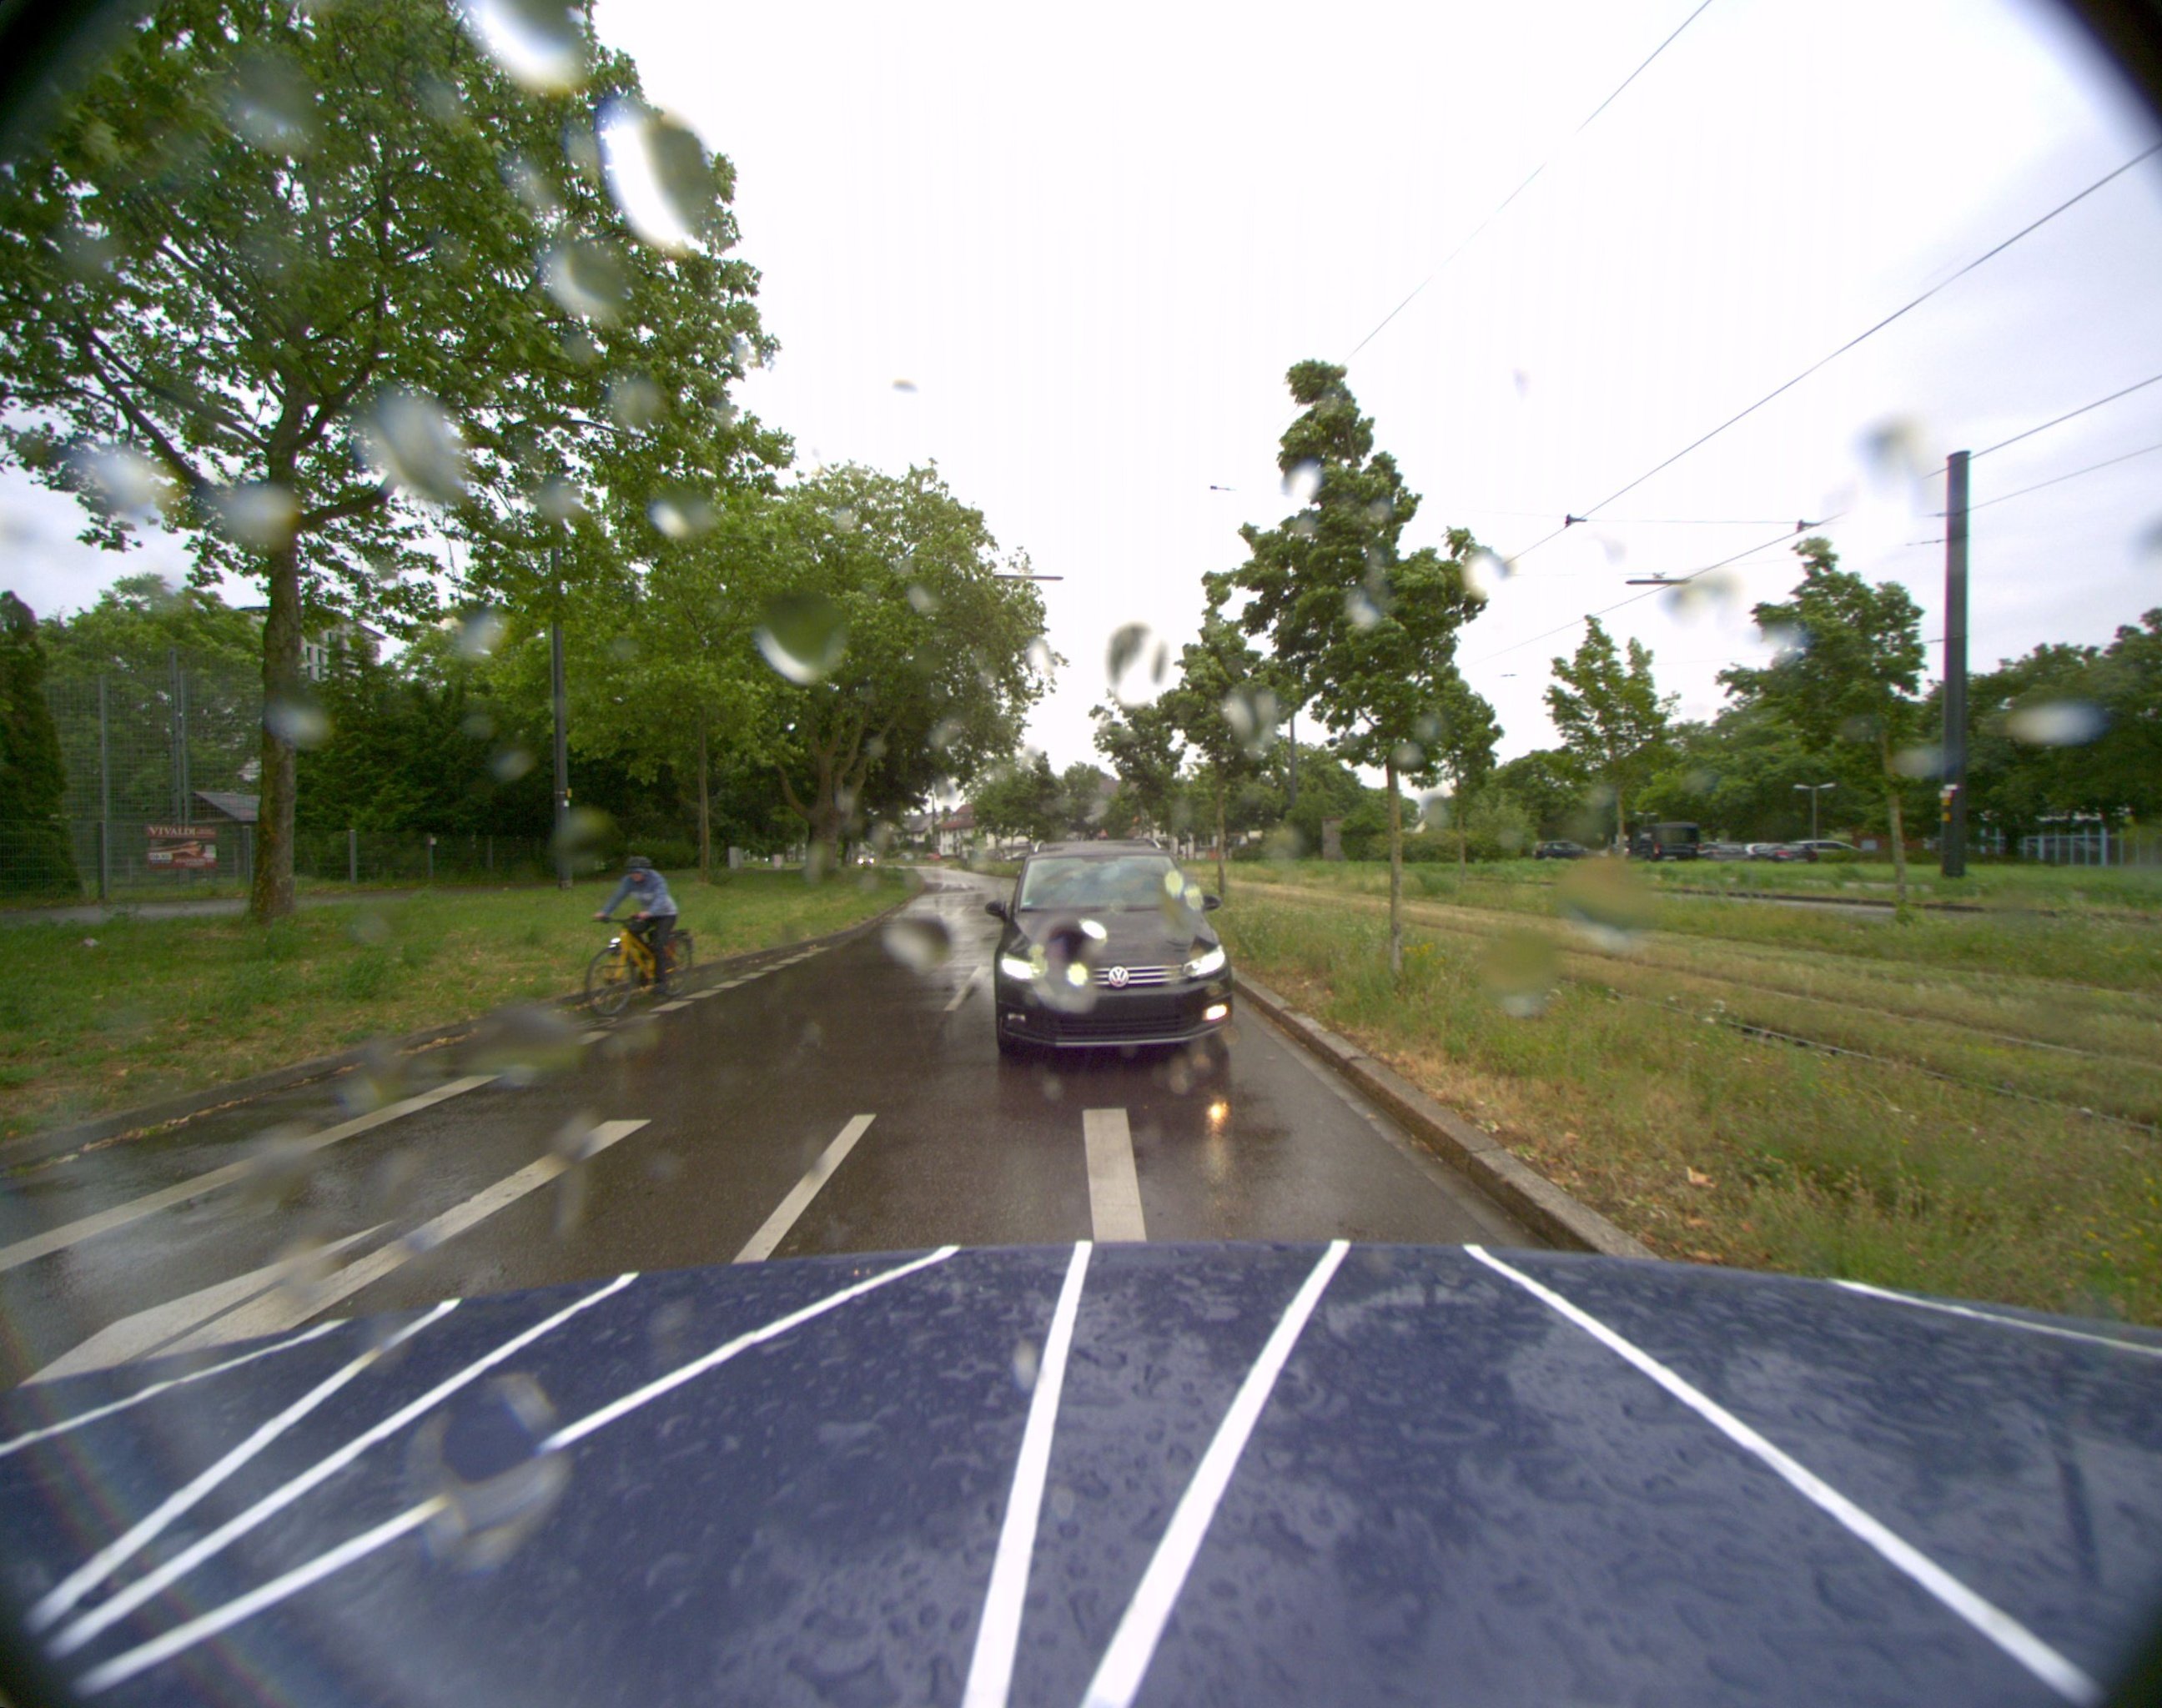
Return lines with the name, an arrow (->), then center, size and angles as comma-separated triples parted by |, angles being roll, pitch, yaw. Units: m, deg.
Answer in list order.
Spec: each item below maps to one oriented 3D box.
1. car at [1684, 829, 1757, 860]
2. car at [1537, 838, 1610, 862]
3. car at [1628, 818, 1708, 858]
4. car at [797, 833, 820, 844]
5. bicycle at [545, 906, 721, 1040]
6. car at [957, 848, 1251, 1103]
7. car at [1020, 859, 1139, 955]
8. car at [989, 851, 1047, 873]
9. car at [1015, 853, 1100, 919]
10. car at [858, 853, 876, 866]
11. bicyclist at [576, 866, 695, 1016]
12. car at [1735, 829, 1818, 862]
car -> 34.639, -0.531, 41.277 | 1.752, 1.522, 4.856 | -2, 1, 24
car -> 34.793, -0.281, 53.798 | 4.172, 1.474, 1.786 | -2, 1, 27
car -> 32.000, -0.873, 41.595 | 2.307, 2.002, 5.125 | -2, 1, 24
car -> -51.727, -2.959, 144.213 | 4.004, 1.816, 1.996 | -3, 1, -24
bicycle -> -4.775, 1.216, 8.281 | 0.692, 1.110, 1.885 | -2, 1, 2
car -> 0.178, 0.784, 7.247 | 1.866, 1.592, 4.524 | -2, 1, 1
car -> -0.087, 0.832, 13.798 | 1.788, 1.355, 3.996 | -2, 1, -2
car -> -4.637, 0.570, 55.483 | 4.046, 1.412, 1.674 | -2, 1, -10
car -> -0.685, 0.715, 19.021 | 1.789, 1.396, 3.791 | -2, 1, -6
car -> -28.545, 0.730, 101.305 | 1.875, 1.608, 3.802 | -3, 1, -23
bicyclist -> -4.785, 0.899, 8.218 | 0.692, 1.497, 0.844 | -2, 2, 2
car -> 36.544, -0.481, 40.069 | 2.057, 1.564, 5.024 | -2, 1, 29
